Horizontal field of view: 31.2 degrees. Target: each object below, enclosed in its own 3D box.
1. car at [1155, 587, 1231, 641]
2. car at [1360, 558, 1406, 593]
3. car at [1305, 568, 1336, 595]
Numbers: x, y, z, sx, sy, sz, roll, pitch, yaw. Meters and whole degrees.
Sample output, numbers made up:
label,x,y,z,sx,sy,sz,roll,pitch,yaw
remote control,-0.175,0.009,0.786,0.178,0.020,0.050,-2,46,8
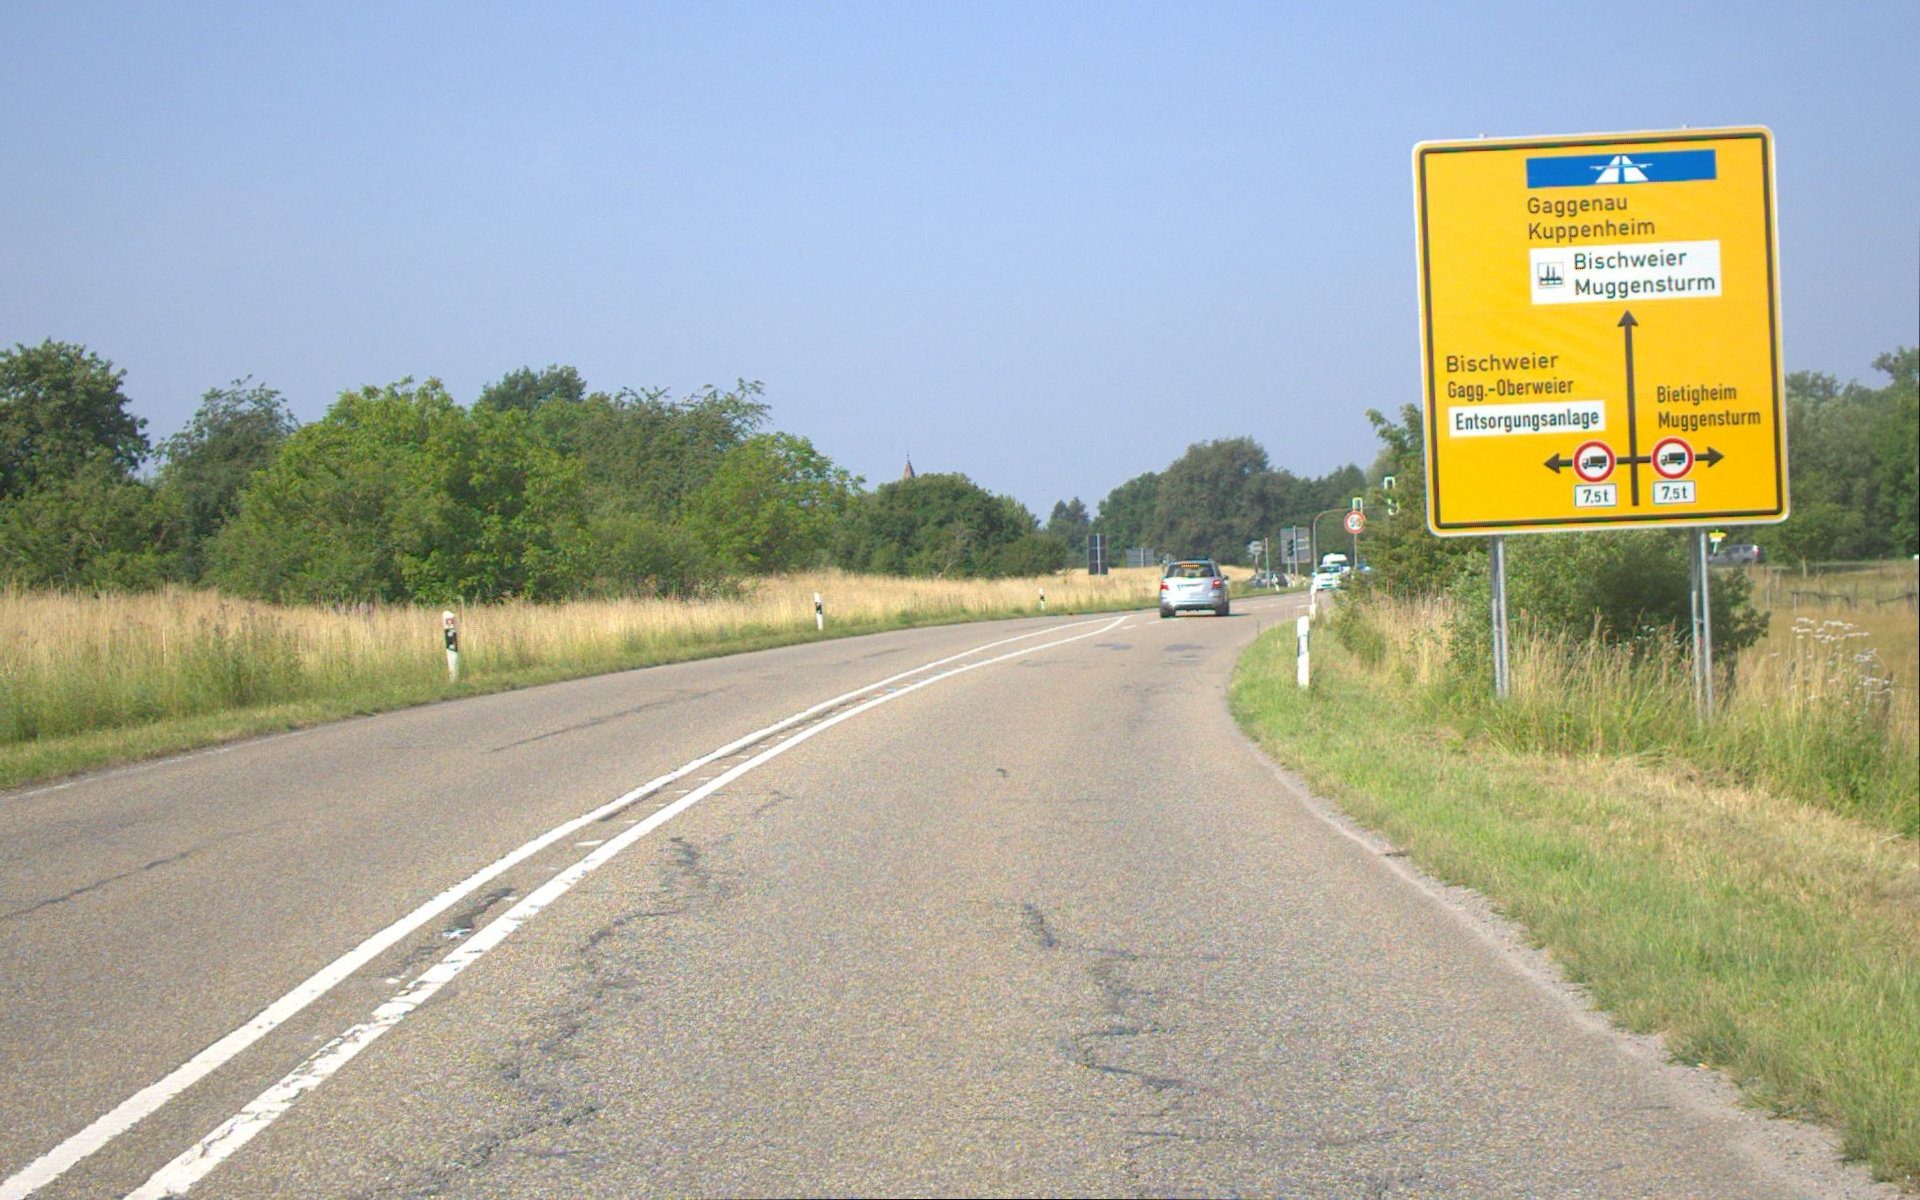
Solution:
label,x,y,z,sx,sy,sz,roll,pitch,yaw
car,6.738,0.384,99.143,1.900,1.507,3.999,0,0,8
car,19.638,-1.145,159.422,1.817,1.515,3.998,-2,0,11
car,21.855,-1.116,208.225,1.812,1.579,4.223,1,0,6
